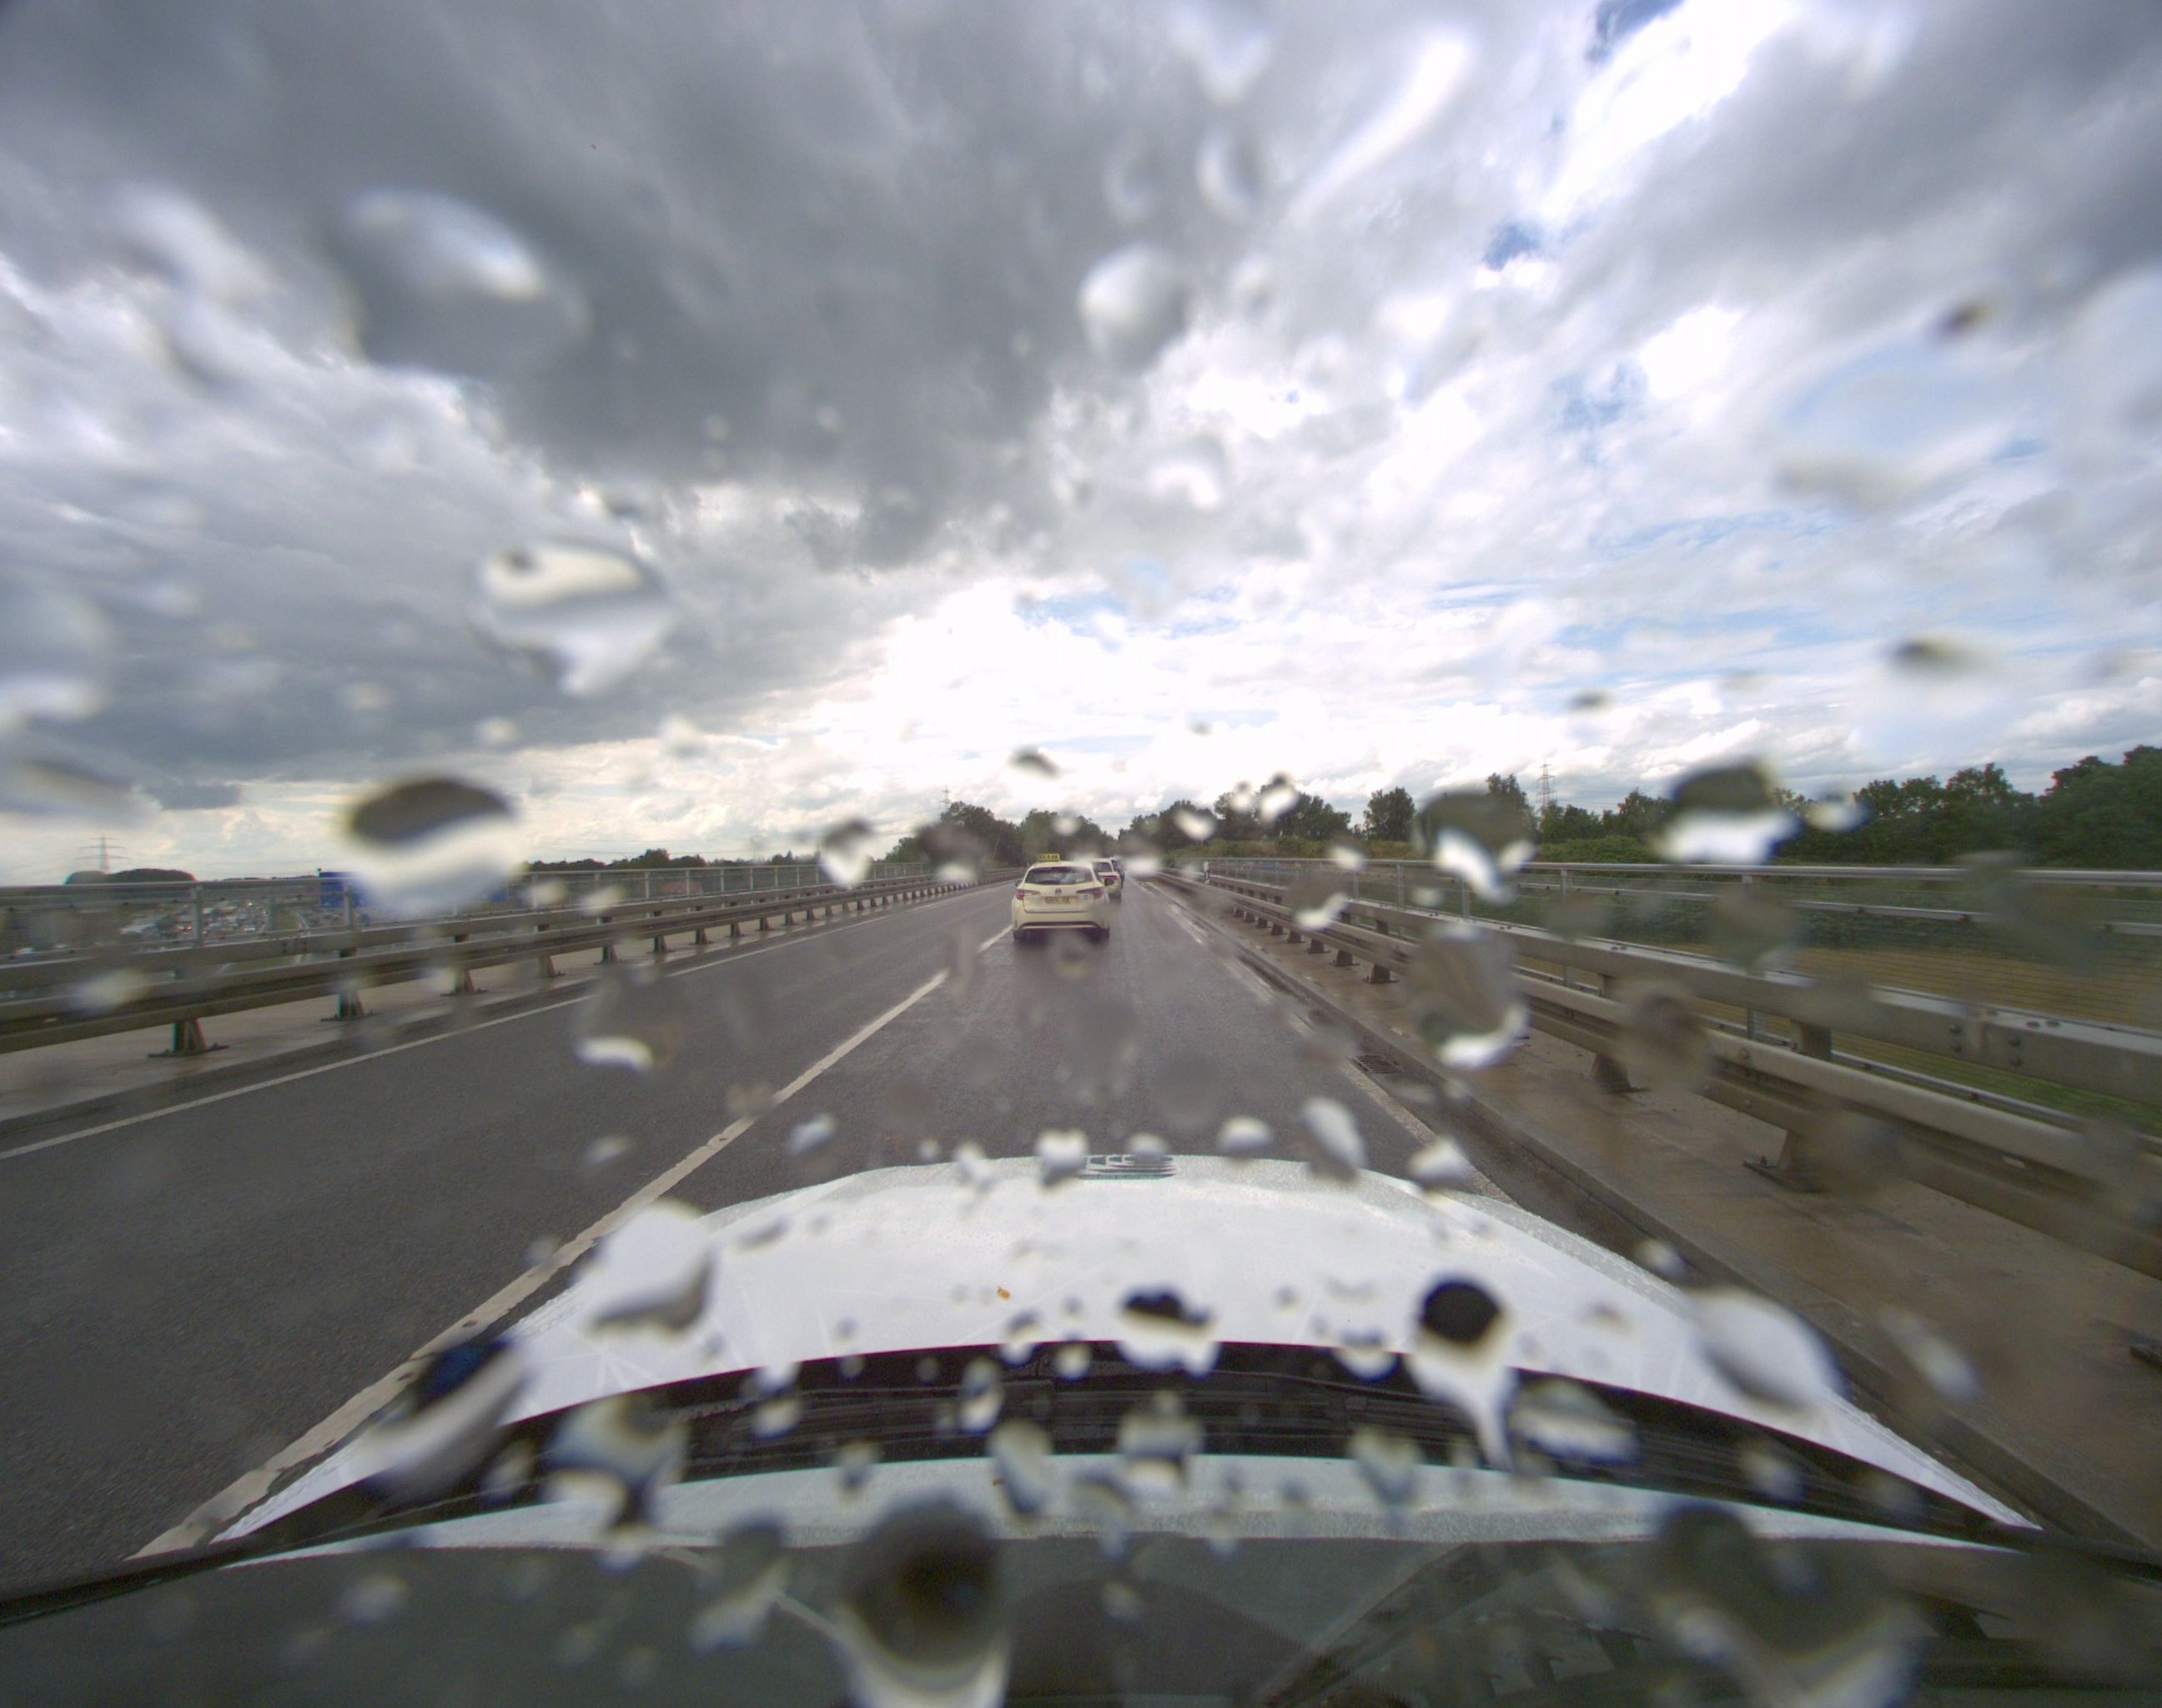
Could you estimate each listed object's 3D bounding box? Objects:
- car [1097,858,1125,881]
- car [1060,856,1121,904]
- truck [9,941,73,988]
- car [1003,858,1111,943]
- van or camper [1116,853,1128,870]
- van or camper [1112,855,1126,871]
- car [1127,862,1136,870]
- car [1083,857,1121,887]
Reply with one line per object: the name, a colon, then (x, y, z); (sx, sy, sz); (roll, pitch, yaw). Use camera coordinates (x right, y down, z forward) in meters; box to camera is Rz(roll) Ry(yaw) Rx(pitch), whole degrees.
car: (2.038, 1.043, 55.455); (1.847, 1.443, 4.173); (0, 0, 2)
car: (0.356, 0.791, 27.038); (1.847, 1.443, 4.173); (0, 0, 2)
truck: (-109.682, 11.531, 86.038); (2.451, 3.762, 11.034); (0, 0, -43)
car: (-0.337, 0.807, 16.046); (1.847, 1.394, 4.173); (0, 0, 2)
van or camper: (8.804, 1.497, 174.586); (2.324, 3.562, 6.309); (0, 0, 2)
van or camper: (6.871, 1.609, 147.887); (2.324, 2.864, 6.309); (0, 0, 2)
car: (12.682, 3.093, 205.650); (1.986, 2.014, 4.001); (0, 0, 1)
car: (1.083, 0.879, 41.567); (1.847, 1.443, 4.173); (0, 0, 2)
